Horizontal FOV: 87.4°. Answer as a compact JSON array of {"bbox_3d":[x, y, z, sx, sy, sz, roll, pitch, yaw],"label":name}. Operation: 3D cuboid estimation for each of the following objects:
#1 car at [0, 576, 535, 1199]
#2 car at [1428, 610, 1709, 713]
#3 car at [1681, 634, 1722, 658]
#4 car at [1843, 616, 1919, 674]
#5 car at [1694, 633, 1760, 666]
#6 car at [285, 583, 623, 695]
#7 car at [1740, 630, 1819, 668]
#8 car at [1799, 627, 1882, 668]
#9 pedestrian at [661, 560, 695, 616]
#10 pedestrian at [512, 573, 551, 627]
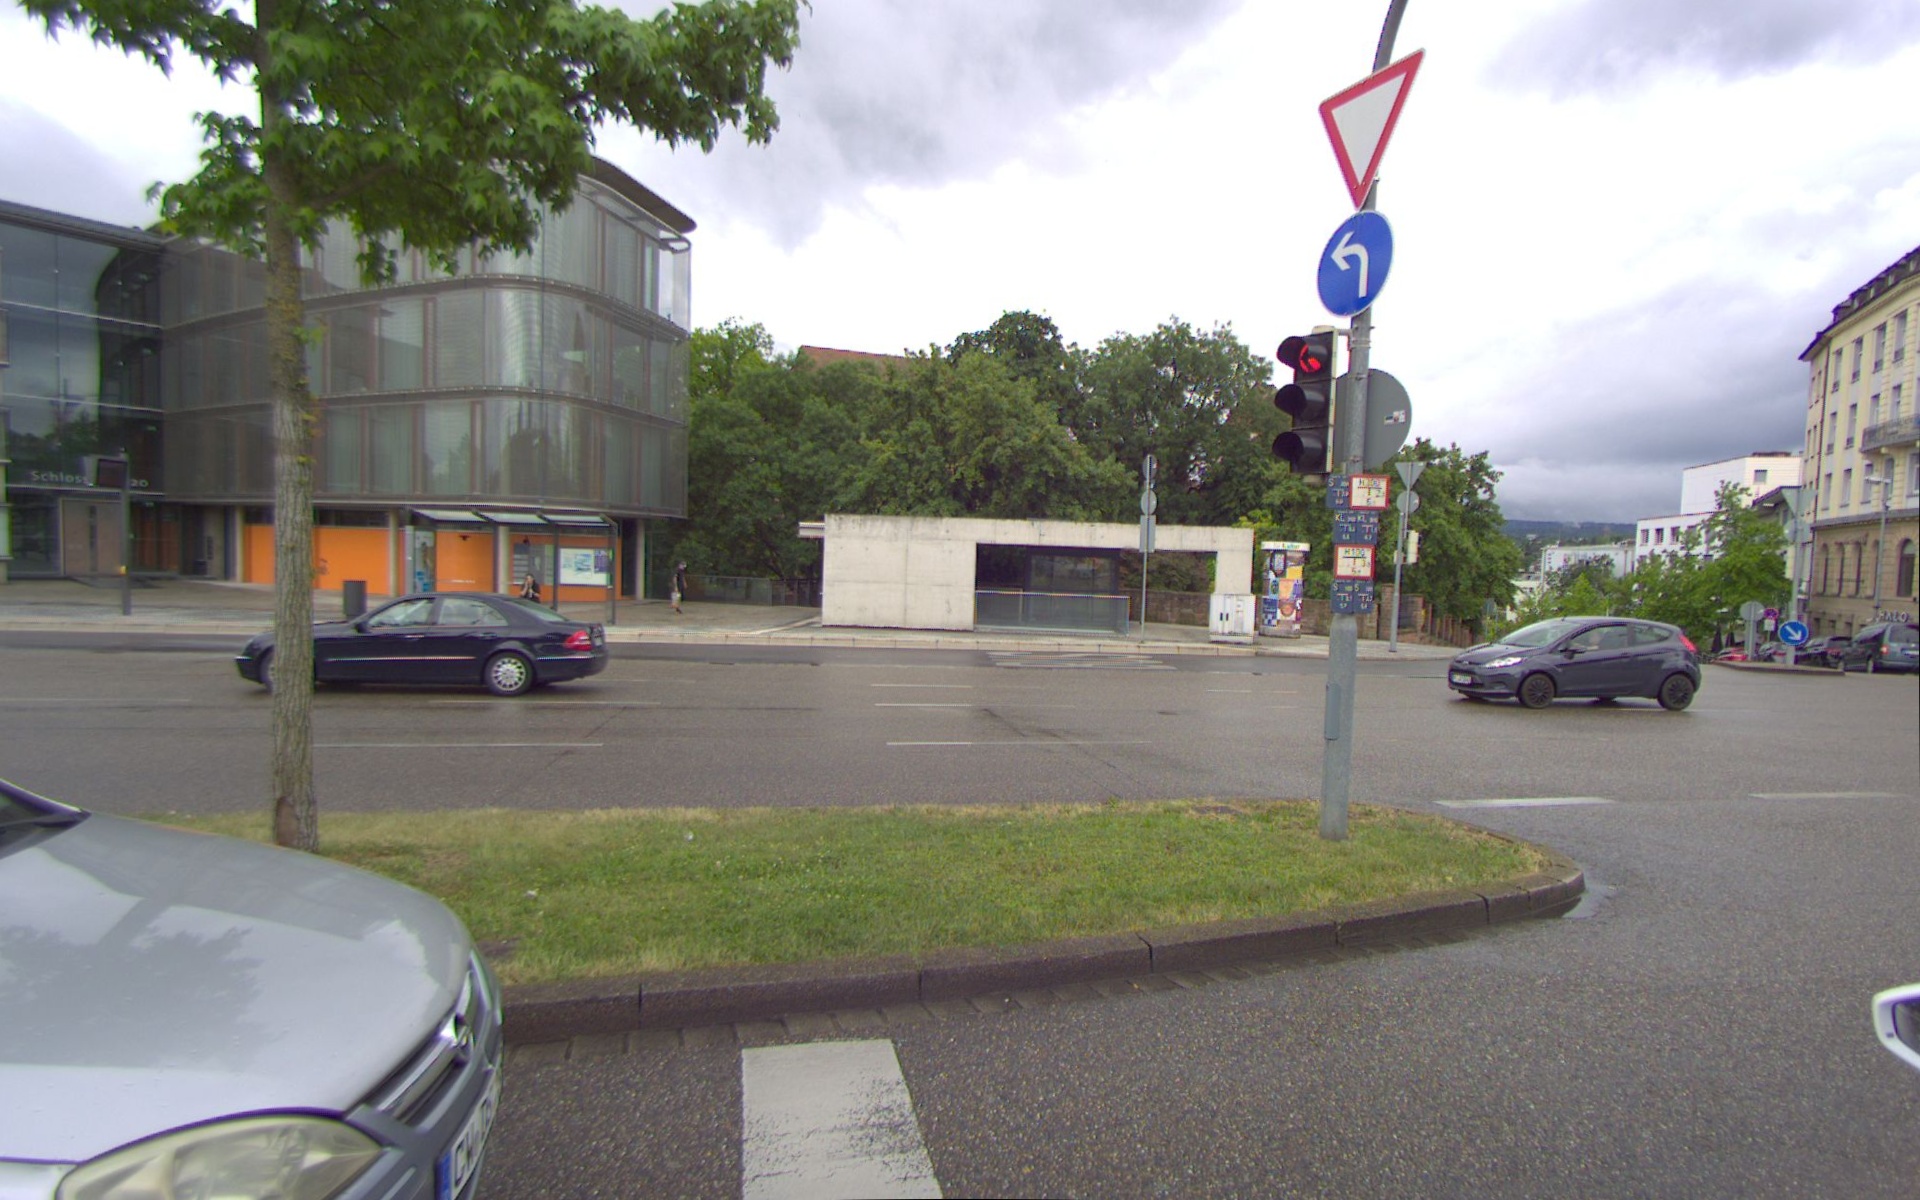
[{"bbox_3d":[-2.766,0.669,1.473,3.656,1.485,1.696,2,0,-13],"label":"car"},{"bbox_3d":[10.079,0.997,16.754,3.793,1.532,1.680,2,0,-9],"label":"car"},{"bbox_3d":[50.469,3.110,68.402,1.738,1.498,3.993,2,0,30],"label":"car"},{"bbox_3d":[32.159,1.512,34.674,1.605,1.783,3.993,2,1,28],"label":"car"},{"bbox_3d":[39.085,2.492,51.267,1.736,1.498,4.008,2,0,24],"label":"car"},{"bbox_3d":[-7.147,0.548,14.621,3.928,1.441,1.958,2,0,-10],"label":"car"},{"bbox_3d":[36.980,2.167,45.424,1.736,1.498,3.998,2,0,24],"label":"car"},{"bbox_3d":[35.258,1.861,40.334,1.605,1.417,3.993,2,1,28],"label":"car"},{"bbox_3d":[-9.074,-0.399,32.329,0.809,1.780,0.786,2,3,10],"label":"pedestrian"},{"bbox_3d":[-10.710,0.003,25.116,0.706,1.316,0.668,2,0,-6],"label":"pedestrian"}]
